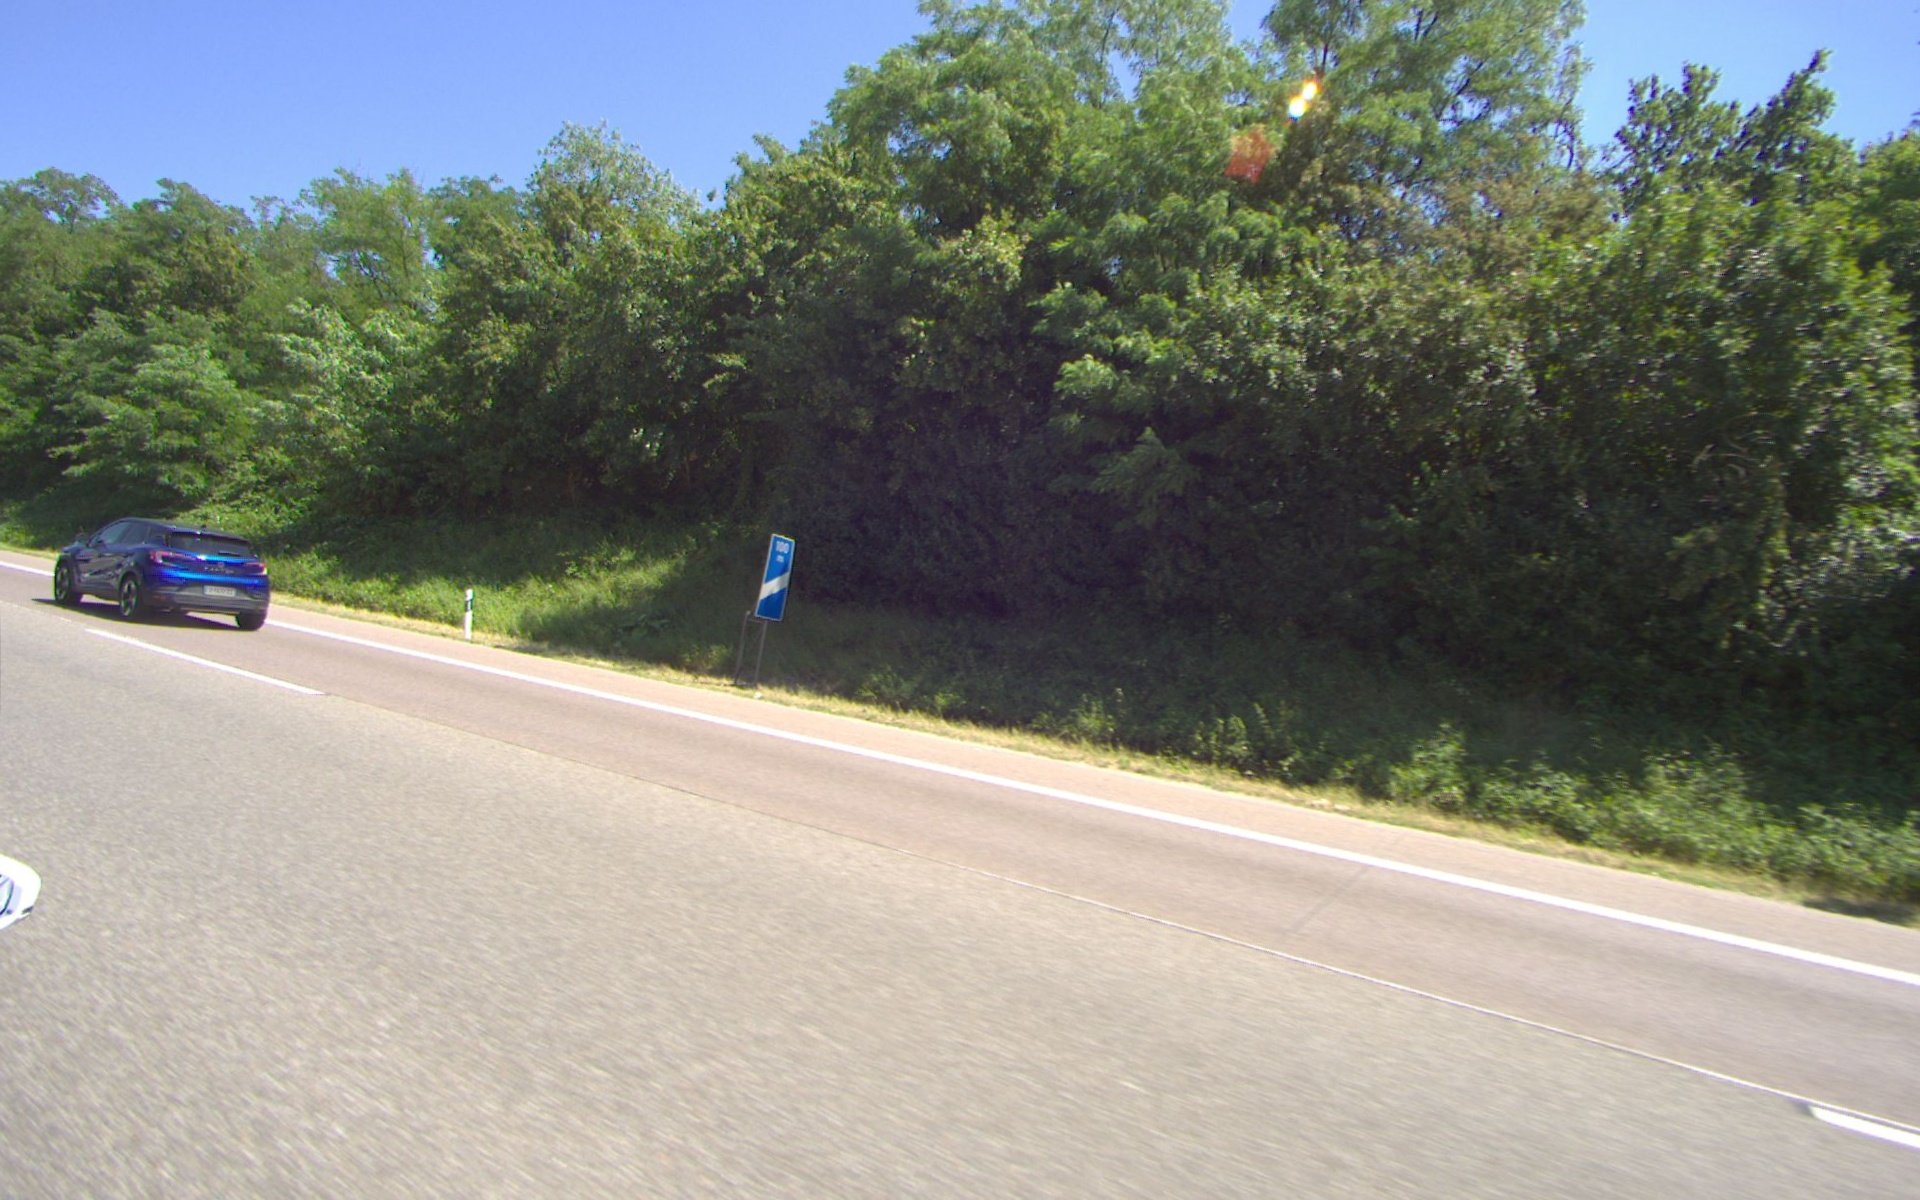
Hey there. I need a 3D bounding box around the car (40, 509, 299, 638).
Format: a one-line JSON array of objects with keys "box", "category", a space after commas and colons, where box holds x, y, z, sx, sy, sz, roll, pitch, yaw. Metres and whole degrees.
[{"box": [-12.890, -0.445, 16.362, 4.132, 1.574, 1.874, 6, -2, 32], "category": "car"}]
